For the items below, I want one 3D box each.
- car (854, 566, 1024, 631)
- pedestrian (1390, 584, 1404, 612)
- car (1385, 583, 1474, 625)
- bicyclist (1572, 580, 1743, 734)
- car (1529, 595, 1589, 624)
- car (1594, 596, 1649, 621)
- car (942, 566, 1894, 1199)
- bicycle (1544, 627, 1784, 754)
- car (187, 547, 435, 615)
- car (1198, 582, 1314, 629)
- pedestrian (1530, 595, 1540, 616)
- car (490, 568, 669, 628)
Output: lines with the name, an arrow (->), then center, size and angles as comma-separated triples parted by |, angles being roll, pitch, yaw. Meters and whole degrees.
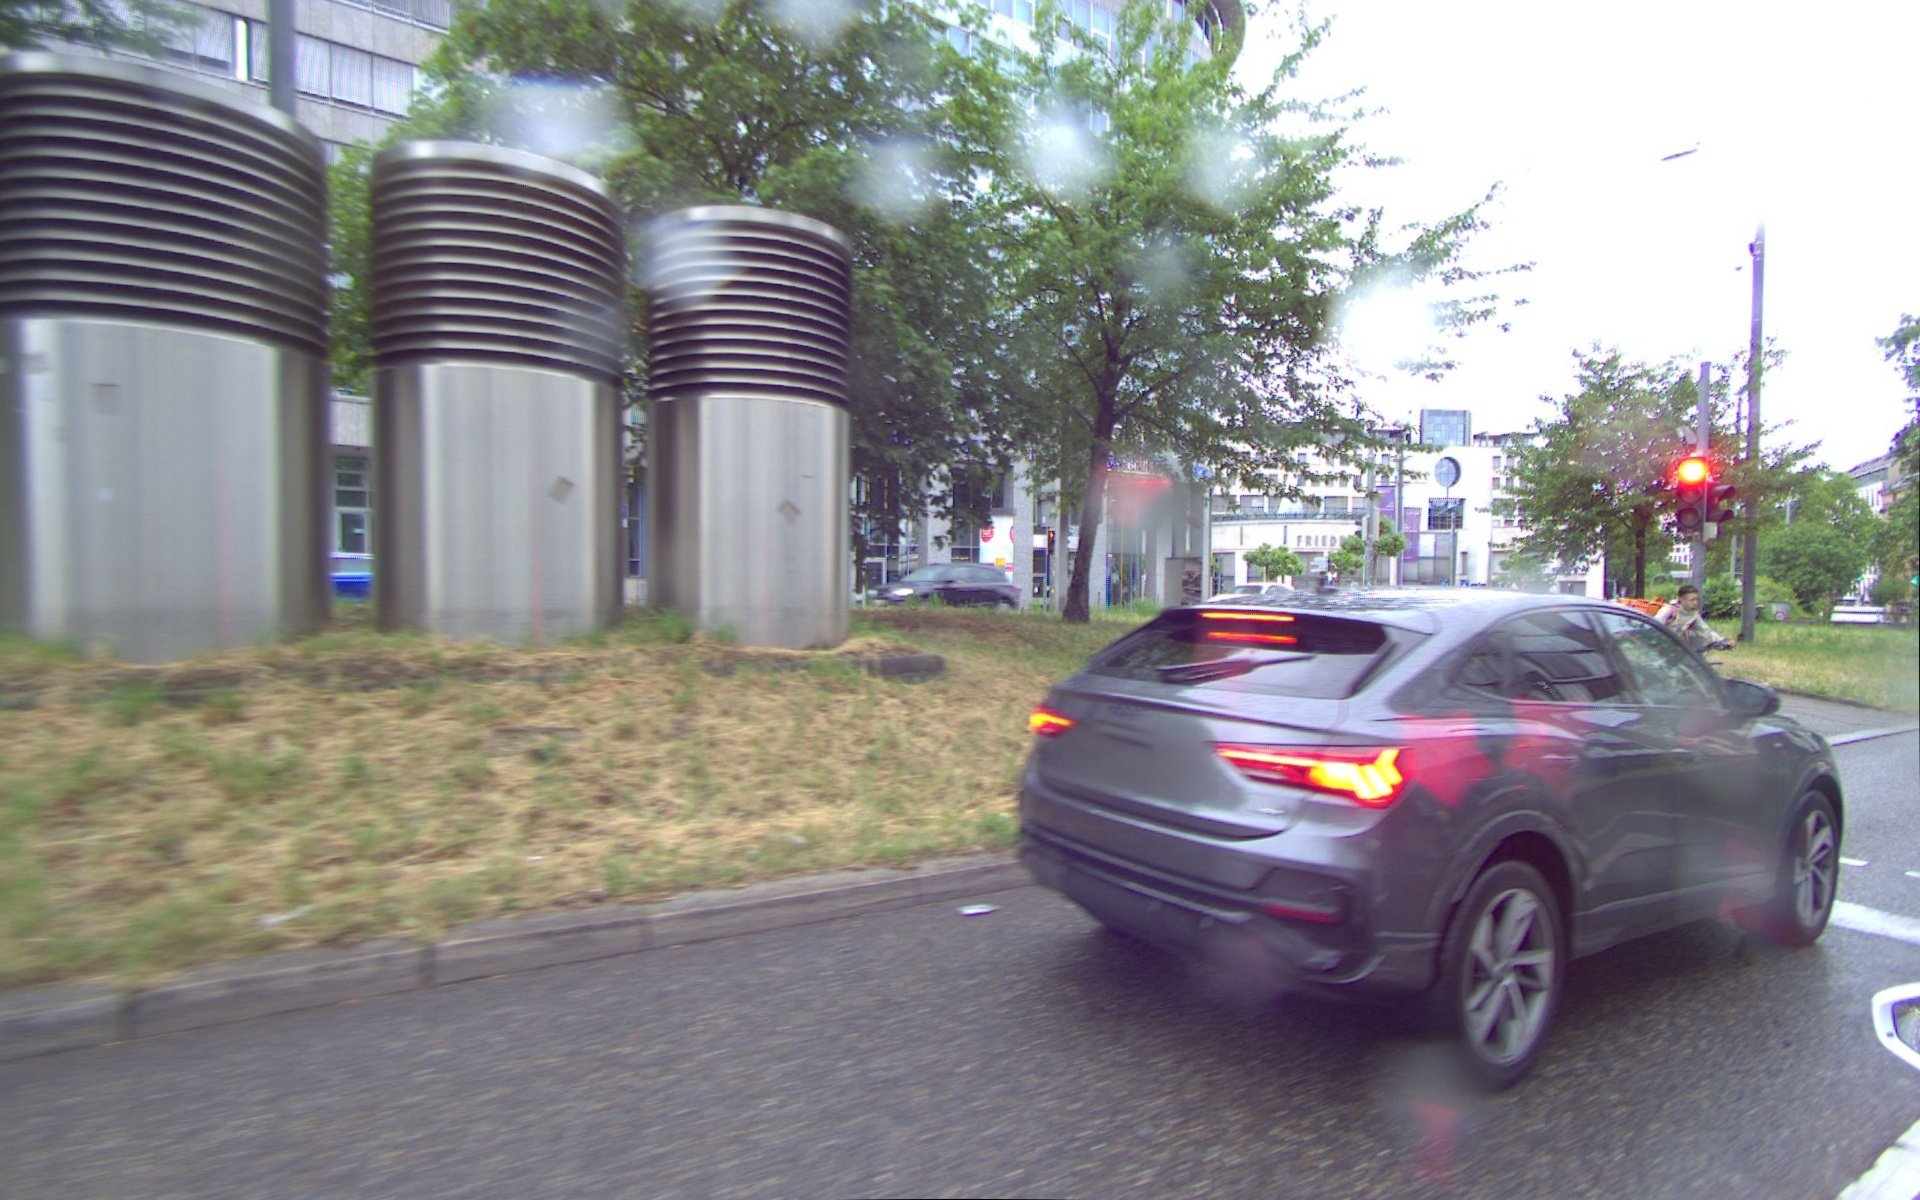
car -> -0.477, -0.036, 25.119 | 3.966, 1.495, 1.852 | 1, 1, -39
pedestrian -> 28.549, -0.134, 65.603 | 0.720, 1.786, 0.614 | 1, -2, -43
car -> 20.459, 0.179, 43.685 | 4.544, 1.750, 1.710 | 1, 1, -39
bicyclist -> 7.871, 0.619, 11.395 | 0.997, 1.603, 1.133 | 2, 3, -11
car -> 33.787, 0.550, 56.607 | 3.970, 1.506, 1.788 | 1, 3, -42
car -> 44.006, 0.583, 66.796 | 4.347, 1.506, 1.789 | 1, 2, -40
car -> 2.190, 0.719, 4.438 | 4.206, 1.638, 1.837 | 0, 2, -33
bicycle -> 7.865, 0.965, 11.379 | 0.994, 1.129, 2.063 | 2, 3, -10
car -> -14.206, -0.385, 22.136 | 4.435, 1.343, 1.878 | 1, 1, -38
car -> 10.228, 0.187, 34.571 | 4.157, 1.495, 1.804 | 1, 1, -39
pedestrian -> 56.213, 0.561, 98.218 | 0.777, 2.041, 0.739 | 4, 2, 30
car -> -9.686, -0.057, 25.697 | 3.977, 1.420, 1.763 | 0, 1, -36
